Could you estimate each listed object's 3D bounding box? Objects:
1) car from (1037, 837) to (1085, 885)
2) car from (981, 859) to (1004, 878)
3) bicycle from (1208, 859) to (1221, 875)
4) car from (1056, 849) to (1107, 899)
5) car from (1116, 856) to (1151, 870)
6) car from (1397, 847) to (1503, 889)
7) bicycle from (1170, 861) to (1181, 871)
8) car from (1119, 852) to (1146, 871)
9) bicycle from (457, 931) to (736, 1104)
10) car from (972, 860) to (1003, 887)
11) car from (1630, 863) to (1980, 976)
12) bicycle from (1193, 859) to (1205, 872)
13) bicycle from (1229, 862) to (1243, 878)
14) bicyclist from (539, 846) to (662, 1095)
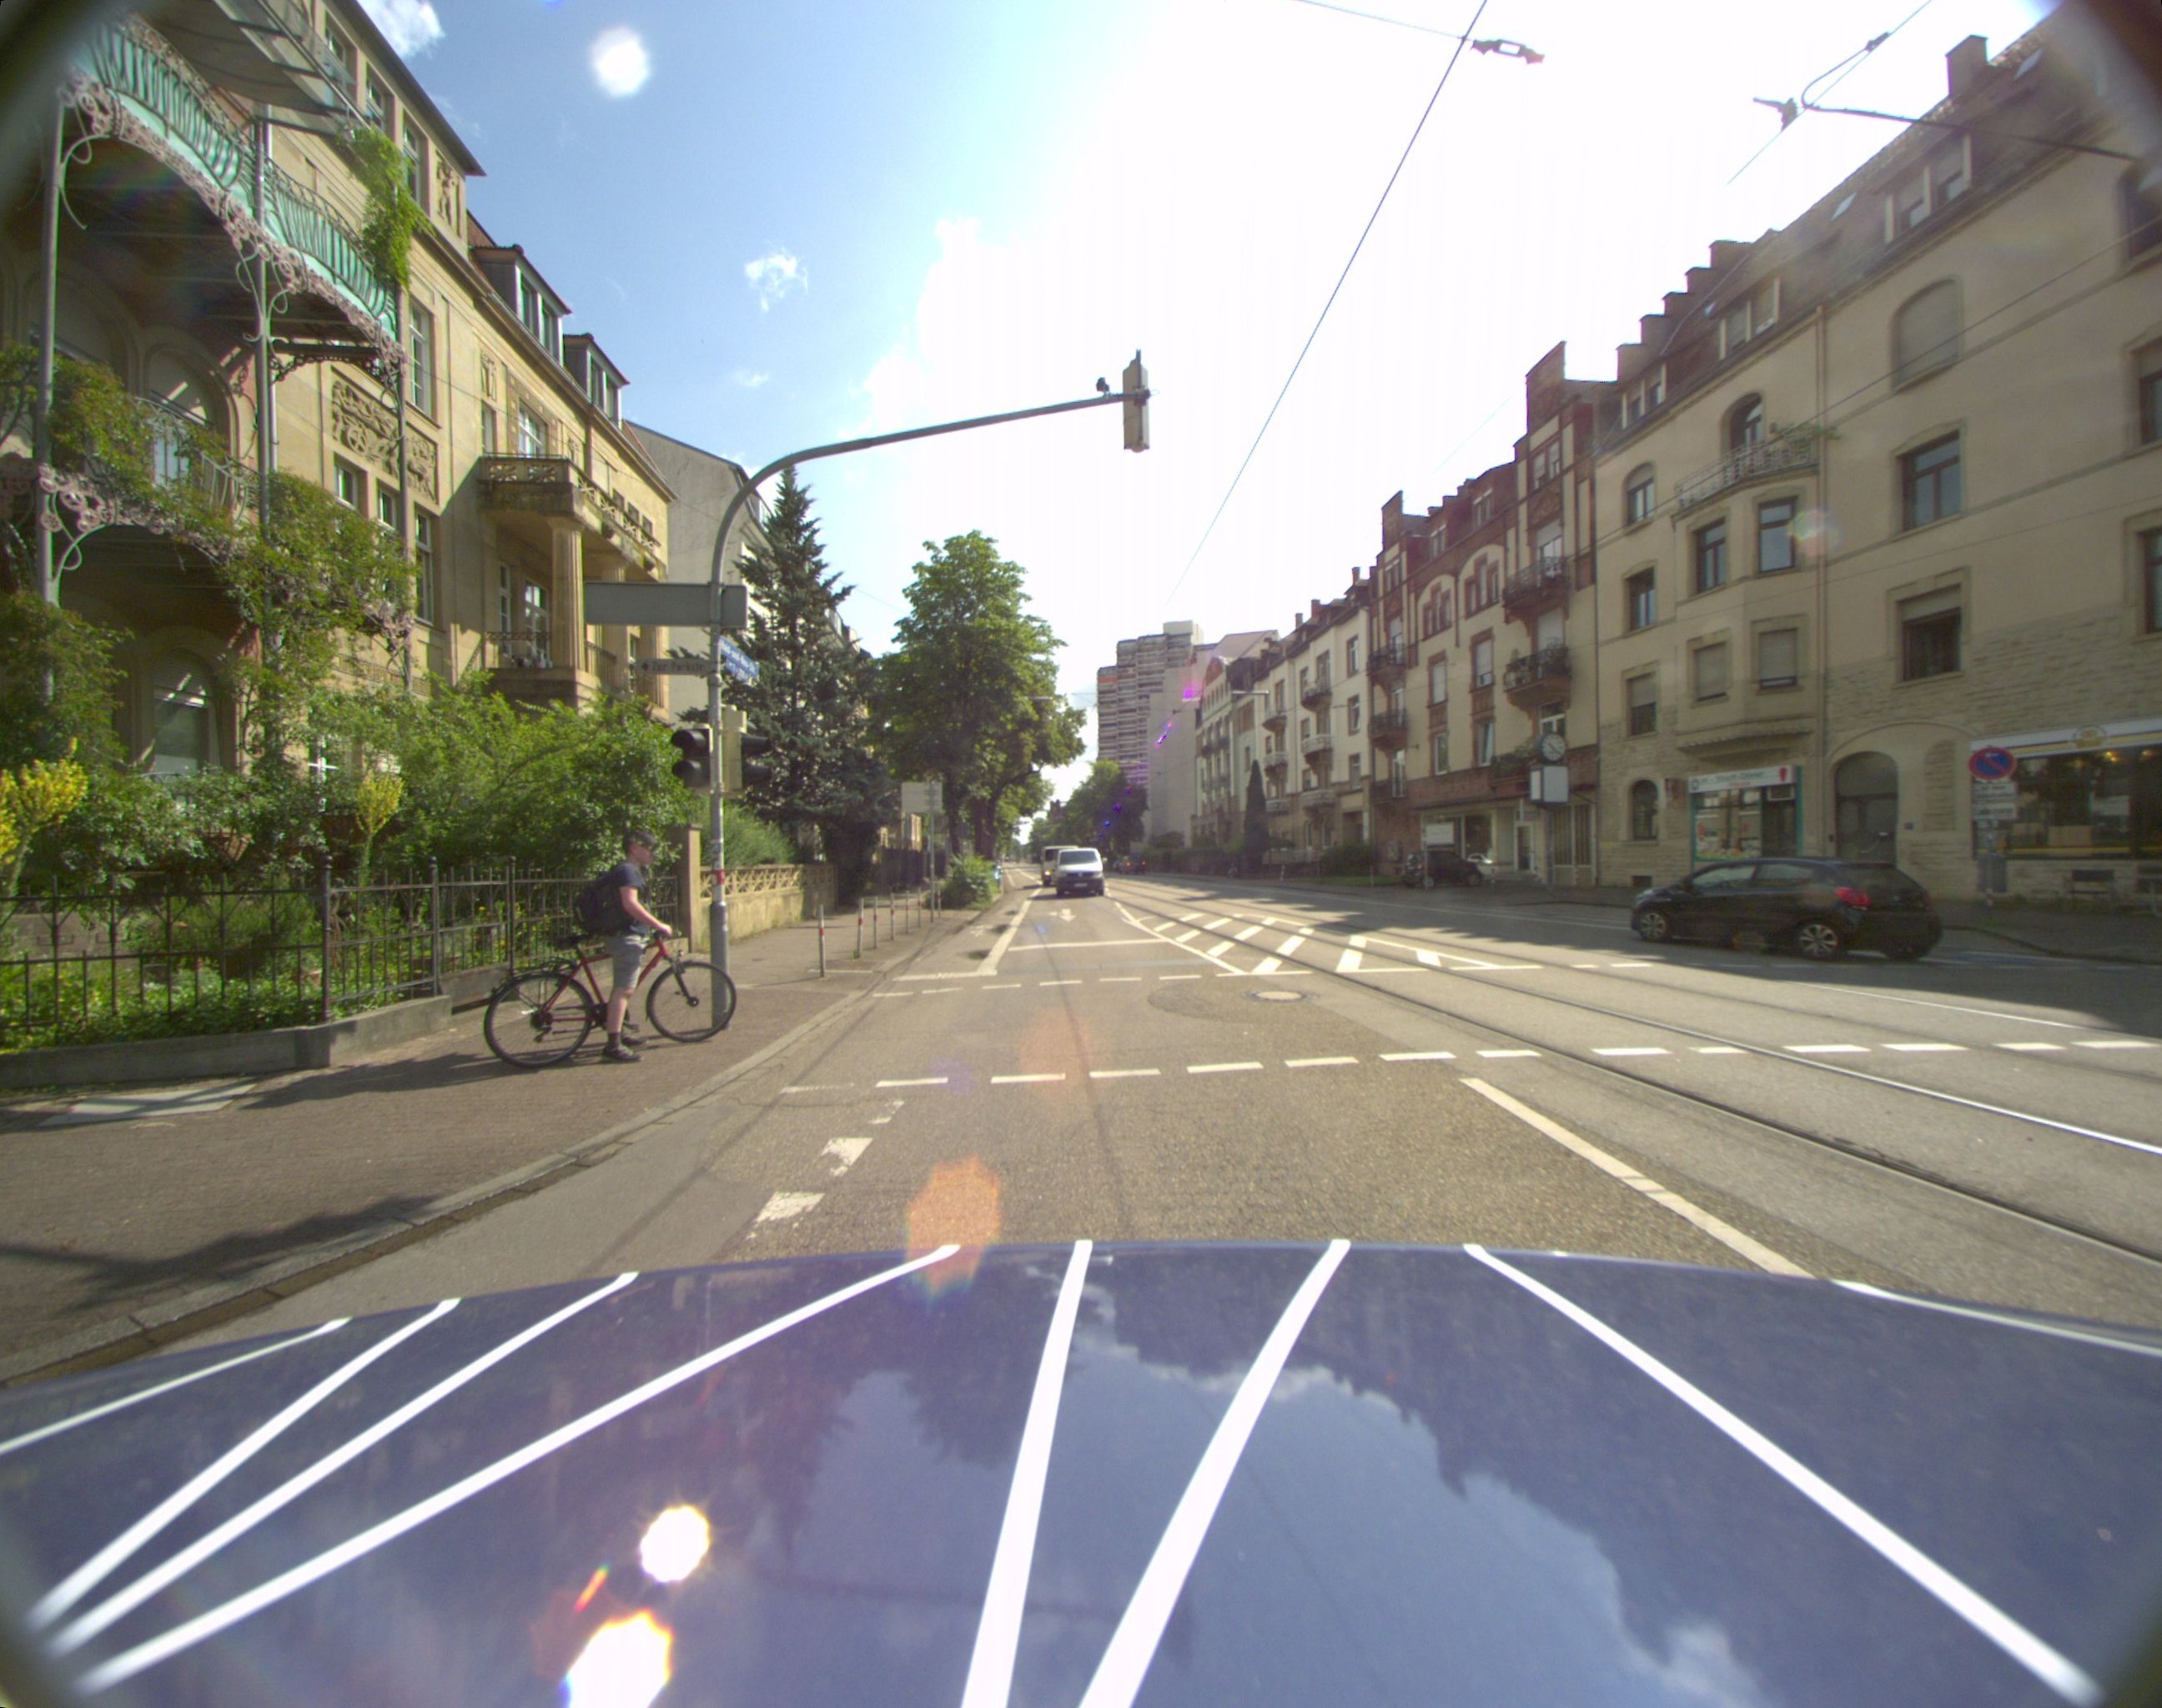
[{"bbox_3d":[-1.213,0.378,43.497,2.169,2.572,5.660,-1,0,-7],"label":"car"},{"bbox_3d":[-7.193,1.133,61.740,1.725,1.443,3.924,1,0,-5],"label":"car"},{"bbox_3d":[9.580,0.925,54.478,0.540,1.024,1.872,-1,1,-1],"label":"bicycle"},{"bbox_3d":[-0.072,0.759,31.301,1.832,1.855,4.844,-2,0,-3],"label":"car"},{"bbox_3d":[6.028,1.026,87.522,3.891,1.527,1.634,-1,0,-4],"label":"car"},{"bbox_3d":[15.090,0.551,31.189,3.454,1.478,1.706,-3,0,-4],"label":"car"},{"bbox_3d":[8.081,1.023,64.919,0.587,0.792,1.872,-3,1,-1],"label":"bicycle"},{"bbox_3d":[4.820,0.688,71.487,1.797,1.701,4.329,-1,0,-6],"label":"car"},{"bbox_3d":[-3.779,1.218,6.098,0.389,1.029,1.849,0,0,39],"label":"bicycle"},{"bbox_3d":[-5.307,1.106,43.408,1.642,1.446,3.697,1,0,-6],"label":"car"},{"bbox_3d":[10.401,0.836,11.274,1.630,1.379,3.432,0,0,-13],"label":"car"},{"bbox_3d":[9.091,0.893,58.828,0.587,0.980,1.872,-1,1,-1],"label":"bicycle"},{"bbox_3d":[9.942,1.017,48.739,0.525,0.901,2.066,-1,2,2],"label":"bicycle"},{"bbox_3d":[-3.797,0.854,6.075,0.736,1.809,0.819,-1,0,-28],"label":"bicyclist"}]
